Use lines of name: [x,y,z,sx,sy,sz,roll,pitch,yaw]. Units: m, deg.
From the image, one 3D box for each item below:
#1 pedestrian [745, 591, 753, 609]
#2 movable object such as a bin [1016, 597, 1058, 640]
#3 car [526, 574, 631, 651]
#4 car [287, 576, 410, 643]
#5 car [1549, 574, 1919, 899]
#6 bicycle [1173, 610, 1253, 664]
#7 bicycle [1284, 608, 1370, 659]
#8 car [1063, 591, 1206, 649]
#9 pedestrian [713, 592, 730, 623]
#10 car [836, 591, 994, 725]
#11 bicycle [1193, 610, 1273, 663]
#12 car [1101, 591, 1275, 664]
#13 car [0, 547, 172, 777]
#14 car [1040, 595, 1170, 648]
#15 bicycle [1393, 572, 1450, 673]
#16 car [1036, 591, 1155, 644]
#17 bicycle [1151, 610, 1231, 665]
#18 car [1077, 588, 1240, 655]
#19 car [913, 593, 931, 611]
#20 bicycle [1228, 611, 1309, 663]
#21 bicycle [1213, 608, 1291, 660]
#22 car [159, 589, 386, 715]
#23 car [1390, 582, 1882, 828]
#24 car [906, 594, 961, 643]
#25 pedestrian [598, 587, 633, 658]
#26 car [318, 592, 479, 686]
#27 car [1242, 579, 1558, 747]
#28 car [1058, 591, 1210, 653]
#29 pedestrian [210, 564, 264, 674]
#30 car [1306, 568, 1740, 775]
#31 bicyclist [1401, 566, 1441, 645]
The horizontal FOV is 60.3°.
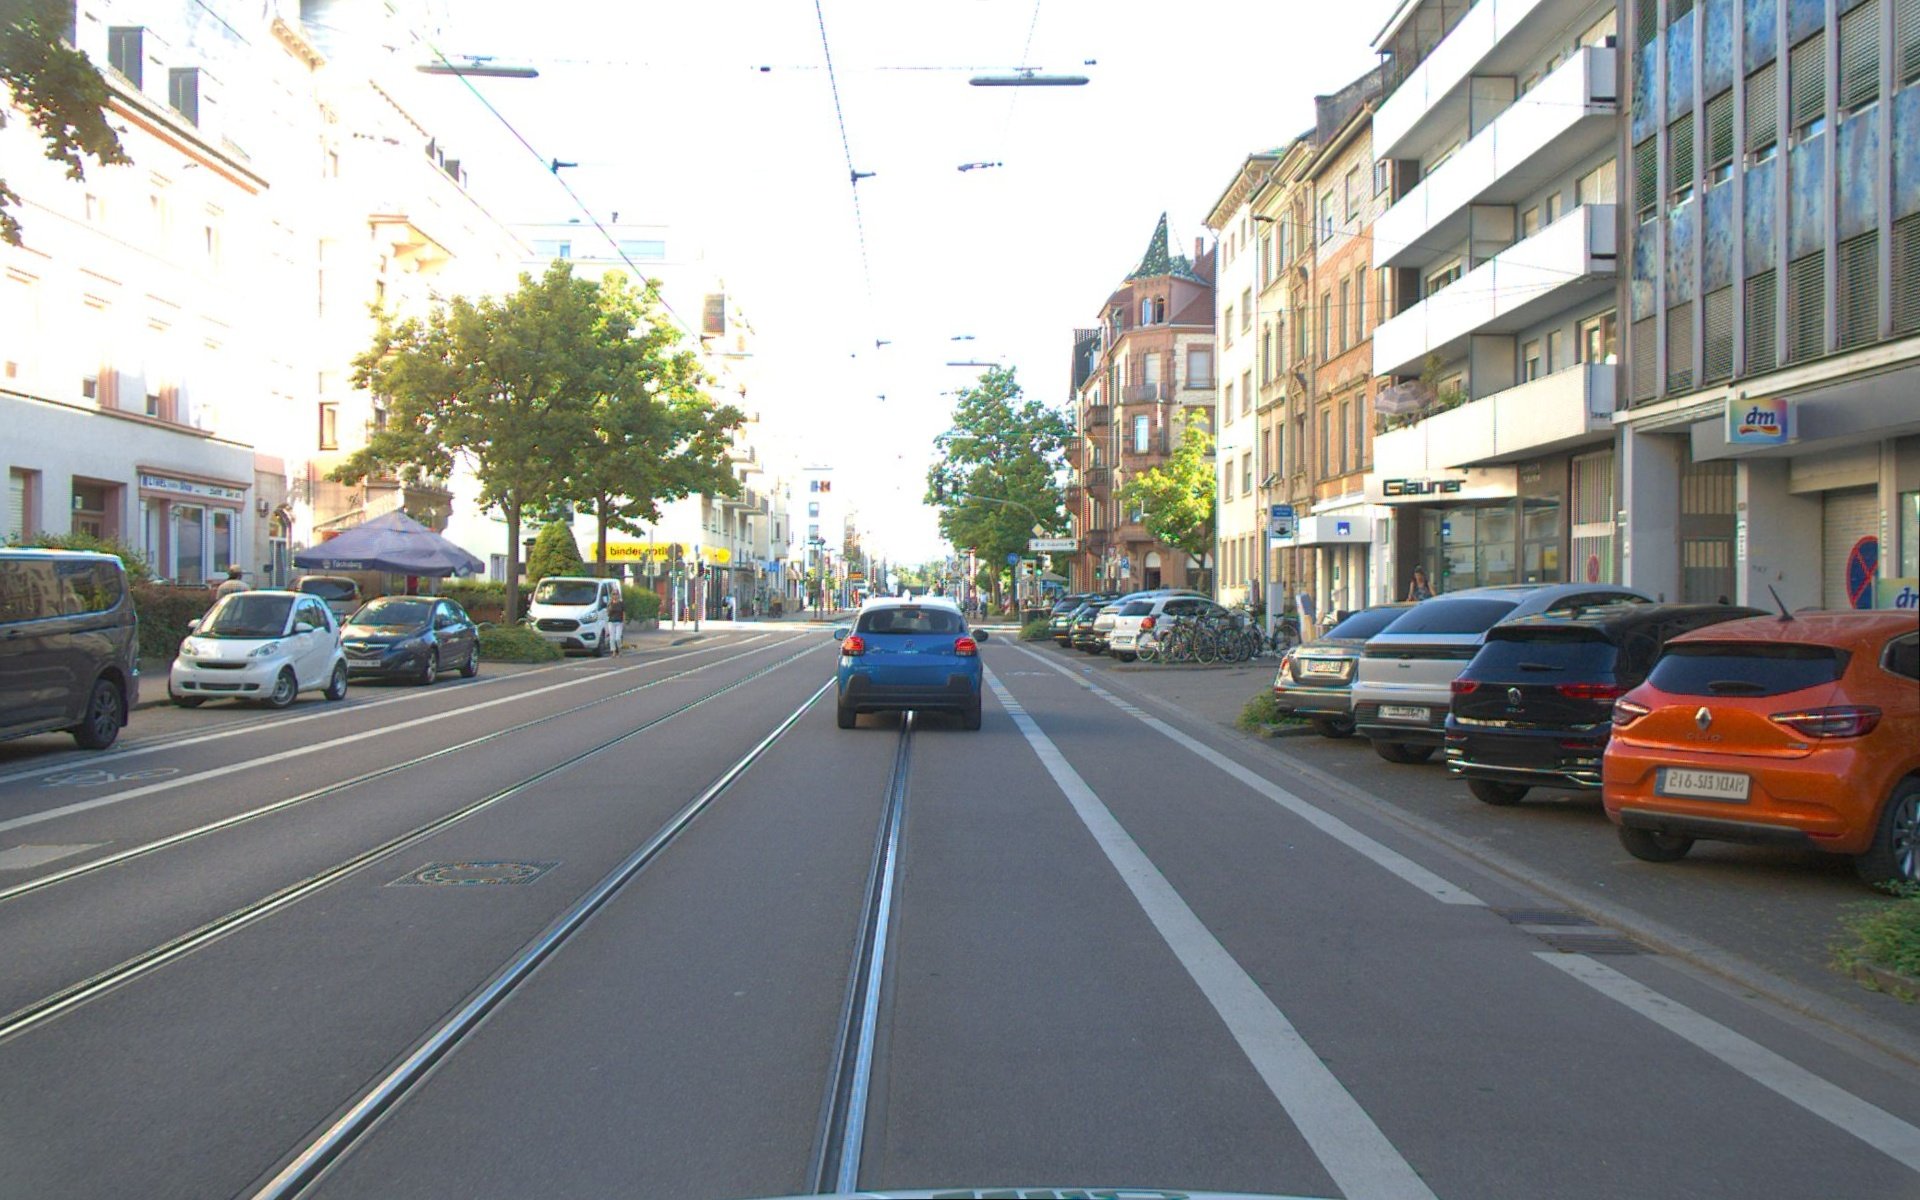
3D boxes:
pedestrian: [-14.756,-0.013,115.634,0.379,1.237,0.432,0,0,-38]
movable object such as a bin: [2.779,0.675,59.873,1.366,1.509,1.655,1,0,-1]
car: [-9.876,0.313,43.082,1.794,1.880,4.213,1,0,-1]
car: [-14.286,0.219,38.832,1.600,1.494,3.526,1,0,-1]
car: [5.444,0.671,9.739,3.686,1.547,1.945,1,0,-34]
bicycle: [5.231,0.754,34.276,0.549,1.066,1.785,1,0,-36]
bicycle: [8.045,0.728,36.303,1.774,1.066,0.552,1,0,40]
car: [4.952,0.571,47.020,3.601,1.601,1.850,1,0,-21]
pedestrian: [-13.681,0.418,94.920,0.926,1.782,0.699,1,0,-6]
car: [-0.542,0.647,20.092,1.727,1.466,3.556,1,0,-1]
bicycle: [5.717,0.744,34.666,0.549,1.066,1.785,1,0,-36]
car: [5.230,0.619,37.903,3.615,1.601,1.842,1,0,-30]
car: [-9.271,0.531,15.343,1.713,2.008,5.236,1,0,-4]
car: [4.438,0.664,50.705,3.601,1.561,1.778,1,0,-21]
bicycle: [9.705,0.470,34.843,0.713,2.049,2.359,1,0,5]
car: [4.571,0.597,55.873,3.601,1.745,1.778,1,0,-21]
bicycle: [4.719,0.760,33.908,0.549,1.066,1.785,1,0,-36]
car: [4.919,0.528,41.038,3.601,1.601,1.850,1,0,-21]
car: [-3.110,0.148,134.945,1.394,1.457,3.138,1,0,-1]
bicycle: [6.594,0.778,35.434,0.549,1.066,1.782,1,0,-39]
bicycle: [6.164,0.713,35.003,0.464,1.066,1.784,1,0,-37]
car: [-9.863,0.696,24.099,1.713,1.646,4.407,1,0,-4]
car: [5.073,0.694,12.343,3.409,1.582,1.804,1,0,-33]
car: [-0.909,0.622,57.693,1.835,1.624,3.999,1,0,-1]
pedestrian: [-8.529,0.552,40.950,0.720,1.756,0.623,1,-1,-25]
car: [-9.677,0.636,28.821,1.713,1.513,4.037,1,0,-5]
car: [4.881,0.646,18.204,3.417,1.668,1.662,1,0,-38]
car: [4.614,0.587,44.036,3.601,1.601,1.850,1,0,-21]
pedestrian: [-12.402,0.318,28.381,0.612,1.856,0.659,1,0,-1]
car: [5.249,0.599,15.338,3.686,1.681,2.023,1,0,-34]
bicyclist: [9.700,0.118,34.809,0.717,1.651,0.529,1,0,4]
